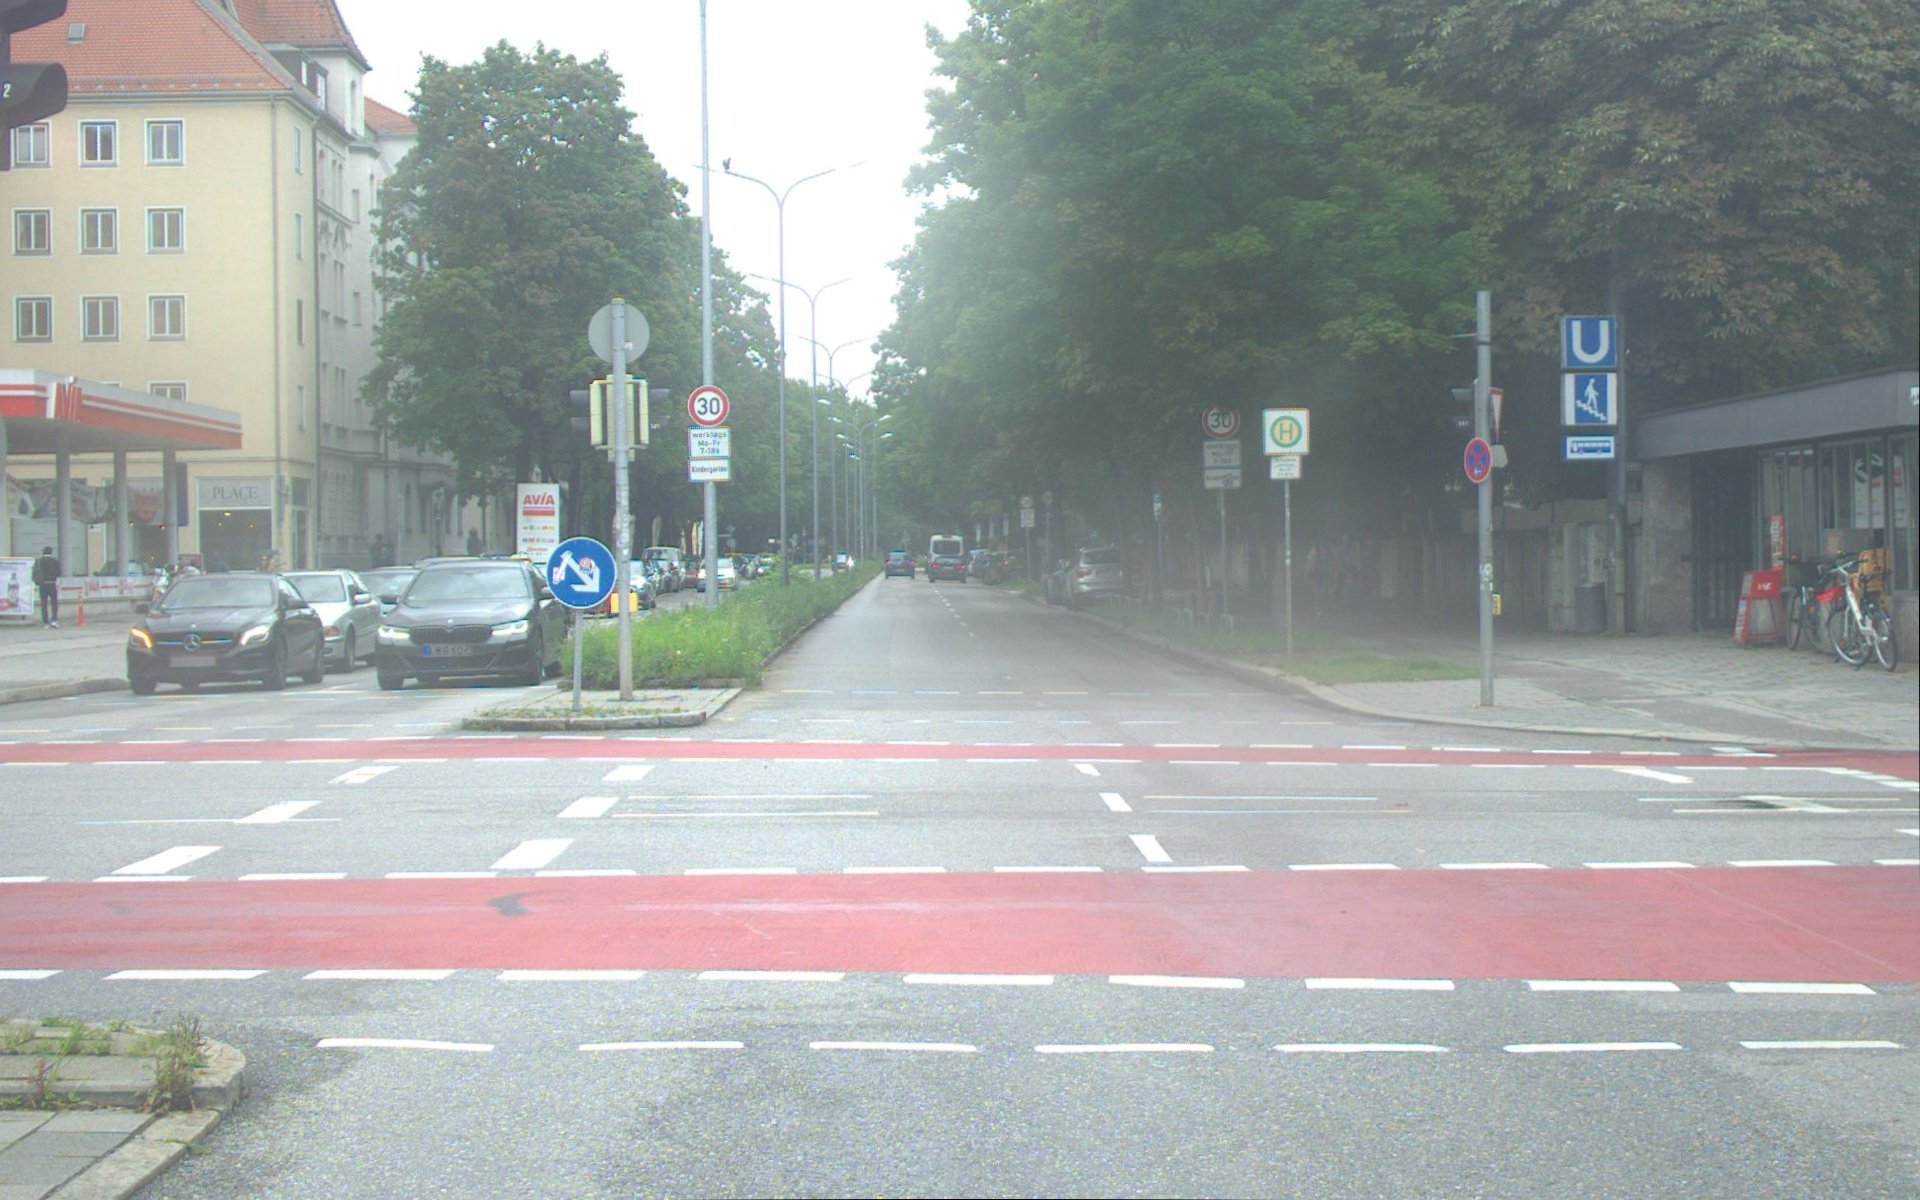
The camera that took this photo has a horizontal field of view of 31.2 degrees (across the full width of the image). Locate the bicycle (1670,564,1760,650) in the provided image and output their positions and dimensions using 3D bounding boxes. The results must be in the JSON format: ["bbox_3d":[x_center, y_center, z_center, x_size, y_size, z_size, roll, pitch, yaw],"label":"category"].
[{"bbox_3d":[9.234,0.072,42.113,0.556,1.011,2.016,-1,1,-3],"label":"bicycle"}]

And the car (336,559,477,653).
[{"bbox_3d":[-9.153,0.076,57.105,1.759,1.455,4.000,-1,1,-1],"label":"car"}]

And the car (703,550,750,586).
[{"bbox_3d":[-9.904,-1.376,145.885,1.759,1.455,4.000,-1,1,-1],"label":"car"}]

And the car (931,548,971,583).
[{"bbox_3d":[-0.485,-1.752,172.676,1.922,1.678,4.000,-1,1,-1],"label":"car"}]

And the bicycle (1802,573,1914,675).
[{"bbox_3d":[9.407,0.237,36.087,0.556,1.011,2.016,-1,1,-3],"label":"bicycle"}]

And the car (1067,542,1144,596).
[{"bbox_3d":[3.776,-0.826,89.696,1.743,1.358,3.807,-1,1,-1],"label":"car"}]

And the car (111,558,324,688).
[{"bbox_3d":[-8.905,0.239,41.521,1.759,1.455,4.000,-1,1,-1],"label":"car"}]

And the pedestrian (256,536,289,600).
[{"bbox_3d":[-17.790,-0.830,89.004,0.696,1.632,0.738,-1,1,-1],"label":"pedestrian"}]

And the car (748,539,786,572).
[{"bbox_3d":[-10.702,-2.494,190.938,1.952,1.817,4.000,0,1,-1],"label":"car"}]

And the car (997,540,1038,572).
[{"bbox_3d":[2.667,-2.049,159.339,1.743,1.422,3.899,-1,1,-1],"label":"car"}]

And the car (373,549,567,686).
[{"bbox_3d":[-5.692,0.165,40.328,1.759,1.488,4.000,-1,1,-1],"label":"car"}]

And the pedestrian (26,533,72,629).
[{"bbox_3d":[-19.297,-0.396,72.817,0.730,2.007,0.834,1,0,-1],"label":"pedestrian"}]

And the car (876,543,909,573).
[{"bbox_3d":[-3.833,-2.428,196.534,1.857,1.678,4.000,-1,1,-1],"label":"car"}]

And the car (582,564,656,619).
[{"bbox_3d":[-9.761,-0.253,98.612,1.759,1.488,4.000,-1,1,-1],"label":"car"}]

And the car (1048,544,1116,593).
[{"bbox_3d":[3.525,-0.931,99.721,1.743,1.358,3.807,-1,1,-1],"label":"car"}]

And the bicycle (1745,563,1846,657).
[{"bbox_3d":[9.418,0.101,38.819,0.556,1.011,2.016,-1,1,-3],"label":"bicycle"}]

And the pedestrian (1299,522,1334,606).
[{"bbox_3d":[7.174,-0.736,69.212,0.678,1.677,0.682,0,1,5],"label":"pedestrian"}]

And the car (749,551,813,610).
[{"bbox_3d":[-4.428,-0.496,85.400,1.468,1.394,3.700,-1,1,-1],"label":"car"}]

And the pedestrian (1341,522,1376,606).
[{"bbox_3d":[8.050,-0.725,69.426,0.678,1.677,0.682,0,1,5],"label":"pedestrian"}]

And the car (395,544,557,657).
[{"bbox_3d":[-6.730,-0.026,48.166,1.759,1.488,4.000,-1,1,-1],"label":"car"}]

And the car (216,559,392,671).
[{"bbox_3d":[-9.136,0.175,48.145,1.759,1.455,4.000,-1,1,-1],"label":"car"}]
